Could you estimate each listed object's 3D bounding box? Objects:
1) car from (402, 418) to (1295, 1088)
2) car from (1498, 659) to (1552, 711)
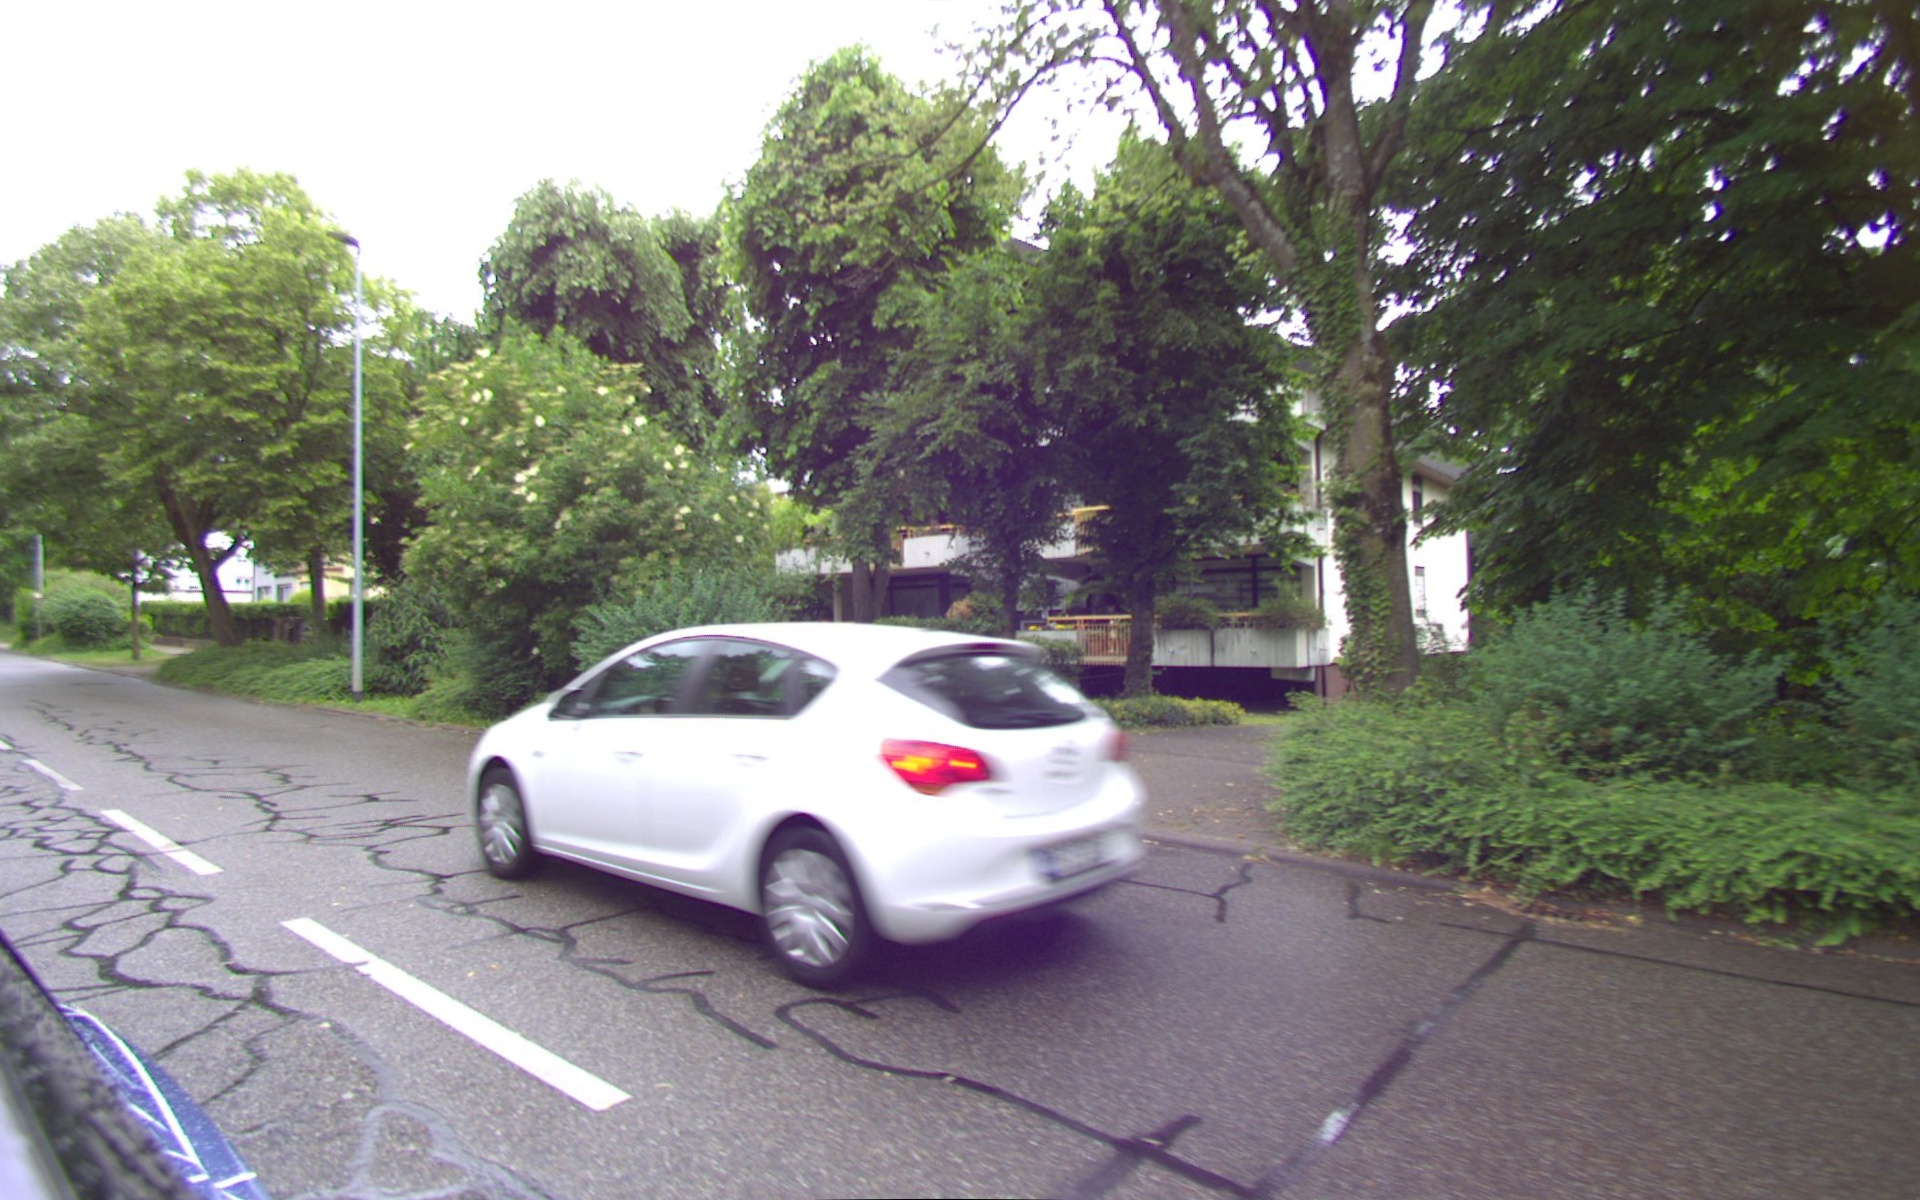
[{"bbox_3d":[-0.855,0.525,5.287,4.568,2.029,1.974,-1,-3,39],"label":"car"},{"bbox_3d":[22.974,3.392,41.075,1.818,1.730,3.958,-1,0,31],"label":"car"}]
